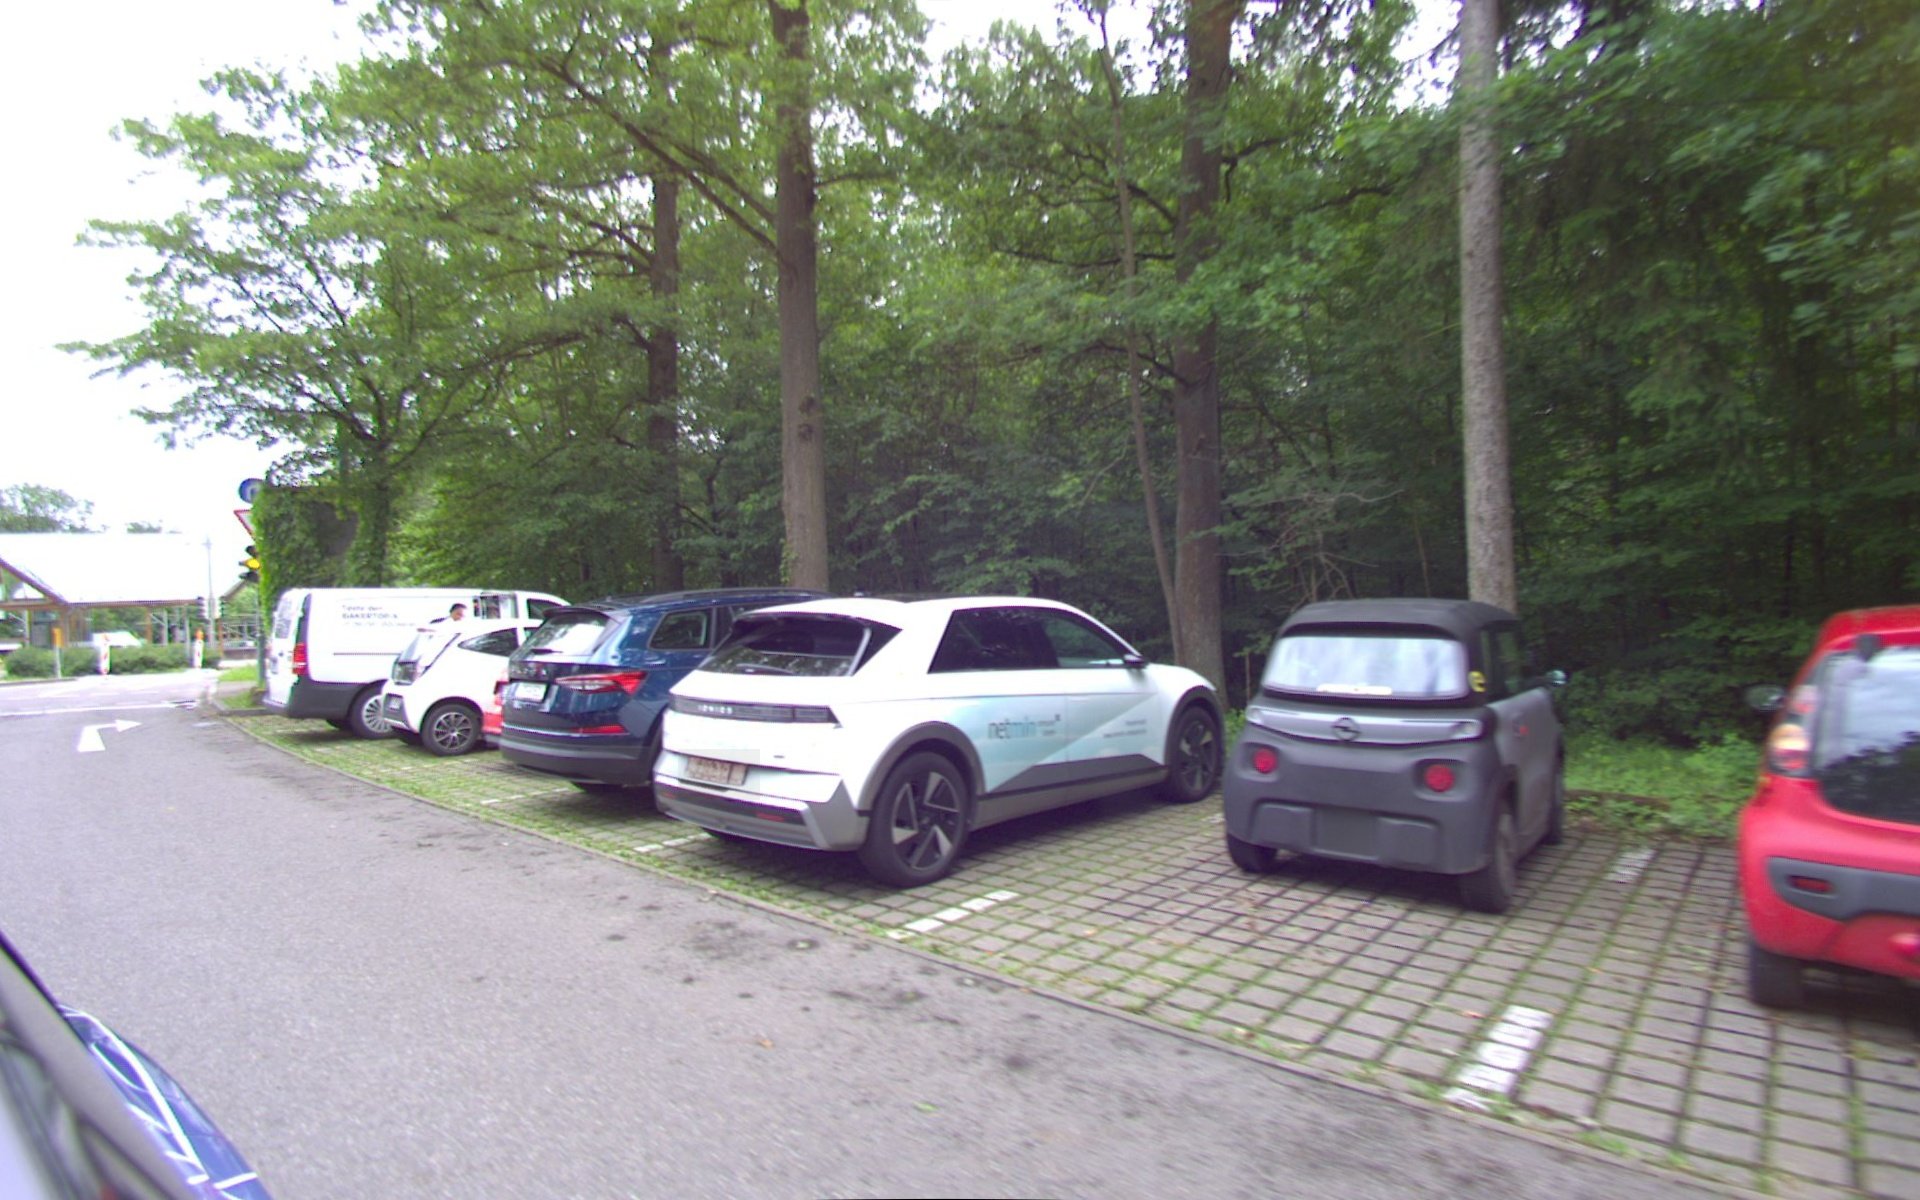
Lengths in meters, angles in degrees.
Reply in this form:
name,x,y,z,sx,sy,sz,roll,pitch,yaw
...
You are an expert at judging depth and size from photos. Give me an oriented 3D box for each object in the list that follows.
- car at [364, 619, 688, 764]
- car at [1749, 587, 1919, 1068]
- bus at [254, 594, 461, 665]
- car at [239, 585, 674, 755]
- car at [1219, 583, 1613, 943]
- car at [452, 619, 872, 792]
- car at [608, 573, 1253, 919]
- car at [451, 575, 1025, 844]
name,x,y,z,sx,sy,sz,roll,pitch,yaw
car,-5.087,0.984,12.014,3.186,1.478,1.657,1,-3,-42
car,4.478,0.684,4.162,1.674,1.485,3.568,-2,-1,42
bus,-30.875,1.459,52.665,2.784,3.183,10.475,-4,-1,13
car,-6.732,0.811,13.955,5.025,1.930,1.980,0,-1,-43
car,2.763,0.710,5.889,1.444,1.553,2.634,-2,0,39
car,-3.006,0.947,10.786,1.823,1.456,3.944,-2,-1,42
car,0.077,0.690,7.000,2.031,1.610,4.308,-1,-1,43
car,-1.702,0.692,8.785,2.172,1.707,4.375,-2,-1,44
